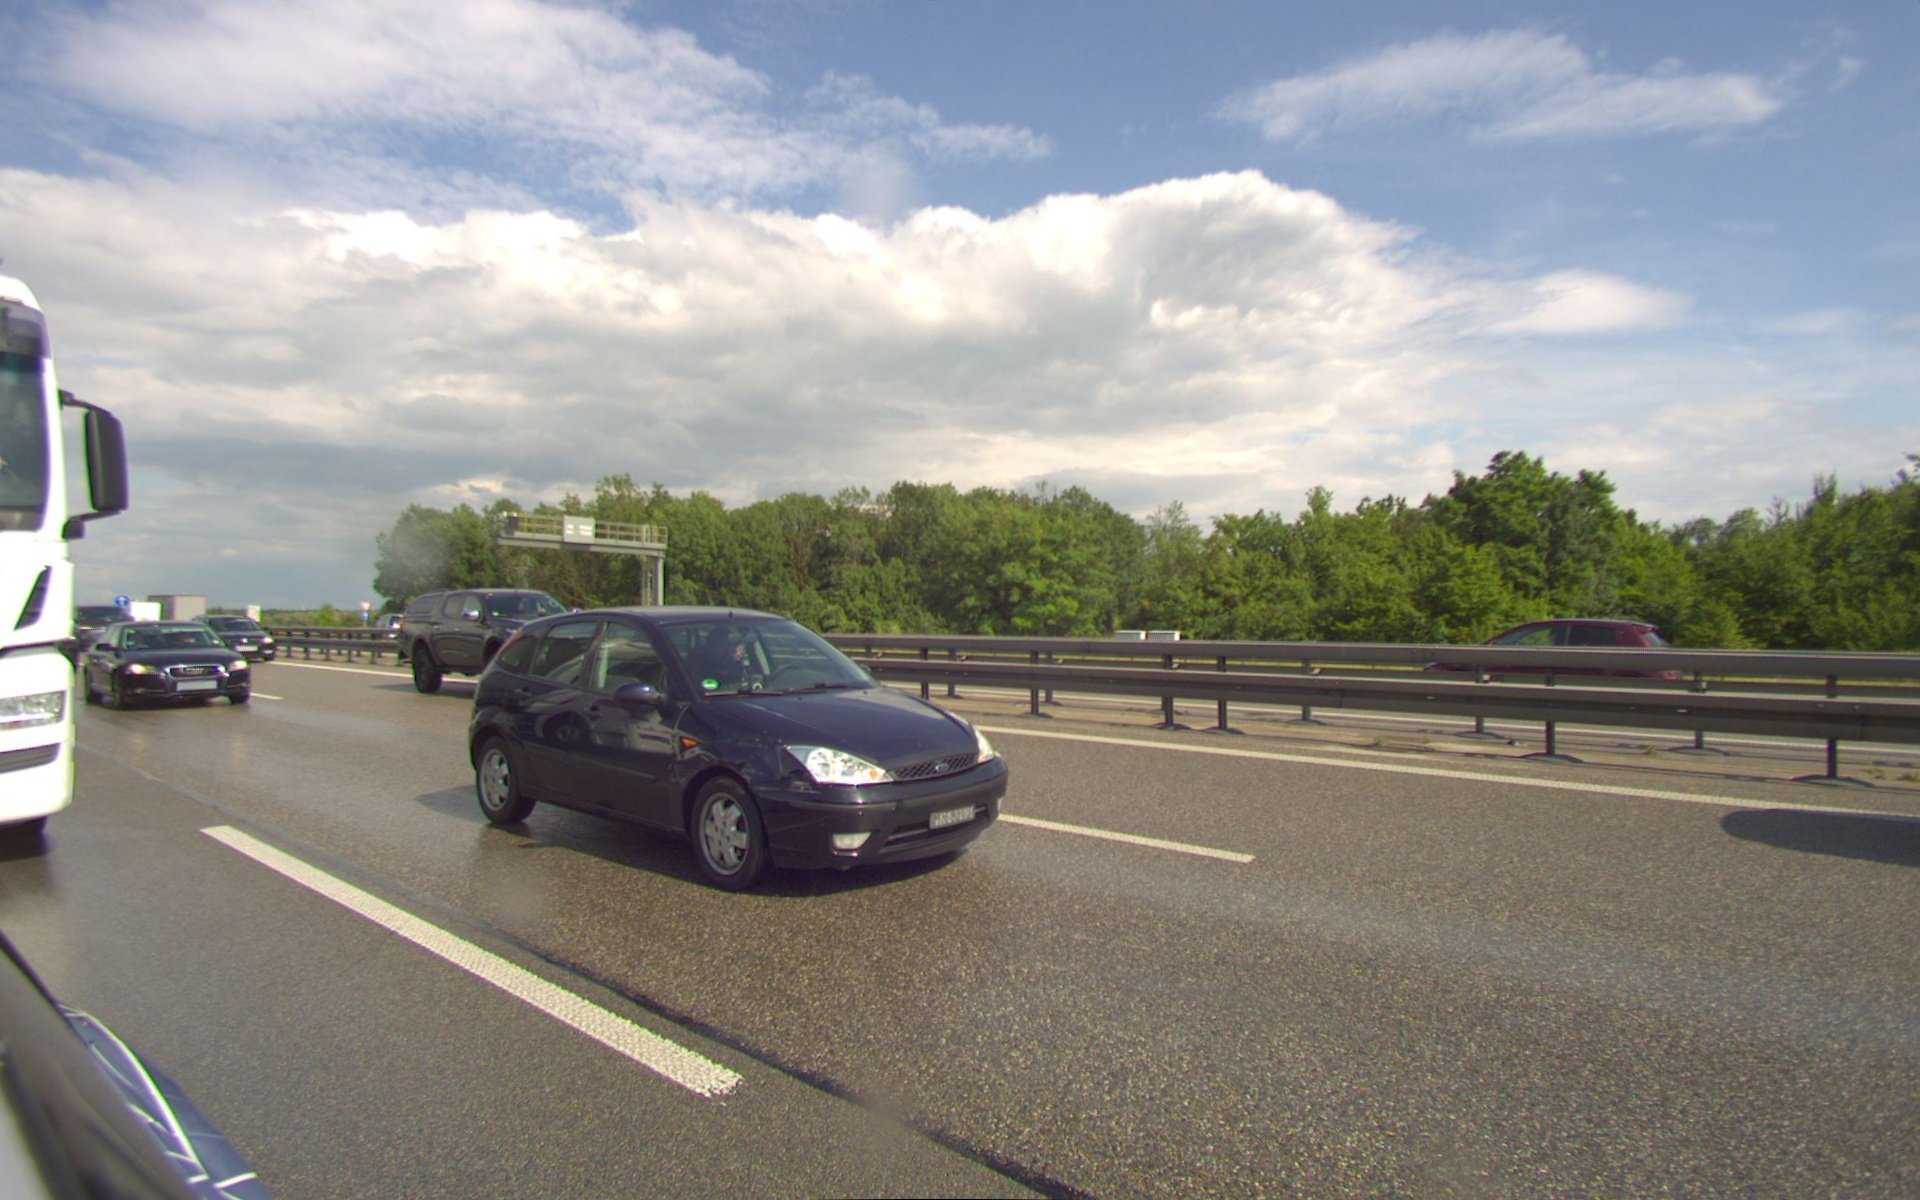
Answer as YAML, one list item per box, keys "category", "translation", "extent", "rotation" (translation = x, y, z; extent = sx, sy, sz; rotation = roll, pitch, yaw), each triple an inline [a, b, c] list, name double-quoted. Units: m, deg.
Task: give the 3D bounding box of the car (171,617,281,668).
- category: "car"
  translation: [-22.521, 1.244, 30.998]
  extent: [4.371, 1.435, 1.899]
  rotation: [-1, -1, 42]

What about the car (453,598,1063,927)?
- category: "car"
  translation: [-1.486, 0.751, 6.461]
  extent: [3.998, 1.454, 1.740]
  rotation: [-1, -1, 41]

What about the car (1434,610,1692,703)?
- category: "car"
  translation: [9.935, 0.875, 16.781]
  extent: [3.439, 1.364, 1.671]
  rotation: [-1, -1, 41]

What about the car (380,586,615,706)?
- category: "car"
  translation: [-8.425, 0.758, 18.153]
  extent: [5.415, 1.858, 1.788]
  rotation: [-1, -1, 41]

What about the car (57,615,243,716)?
- category: "car"
  translation: [-13.493, 1.003, 16.775]
  extent: [4.052, 1.444, 1.732]
  rotation: [-1, -1, 41]

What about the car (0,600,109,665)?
- category: "car"
  translation: [-25.696, 0.876, 28.475]
  extent: [4.621, 1.692, 1.858]
  rotation: [-1, -1, 39]

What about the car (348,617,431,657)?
- category: "car"
  translation: [-23.026, 1.456, 40.791]
  extent: [3.998, 1.529, 1.685]
  rotation: [-1, -1, 41]

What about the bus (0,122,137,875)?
- category: "bus"
  translation: [-9.551, -0.480, 8.160]
  extent: [9.840, 4.159, 2.867]
  rotation: [-1, 0, 41]

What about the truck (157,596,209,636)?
- category: "truck"
  translation: [-77.817, 1.604, 101.309]
  extent: [8.919, 3.913, 2.762]
  rotation: [-1, -1, 44]
